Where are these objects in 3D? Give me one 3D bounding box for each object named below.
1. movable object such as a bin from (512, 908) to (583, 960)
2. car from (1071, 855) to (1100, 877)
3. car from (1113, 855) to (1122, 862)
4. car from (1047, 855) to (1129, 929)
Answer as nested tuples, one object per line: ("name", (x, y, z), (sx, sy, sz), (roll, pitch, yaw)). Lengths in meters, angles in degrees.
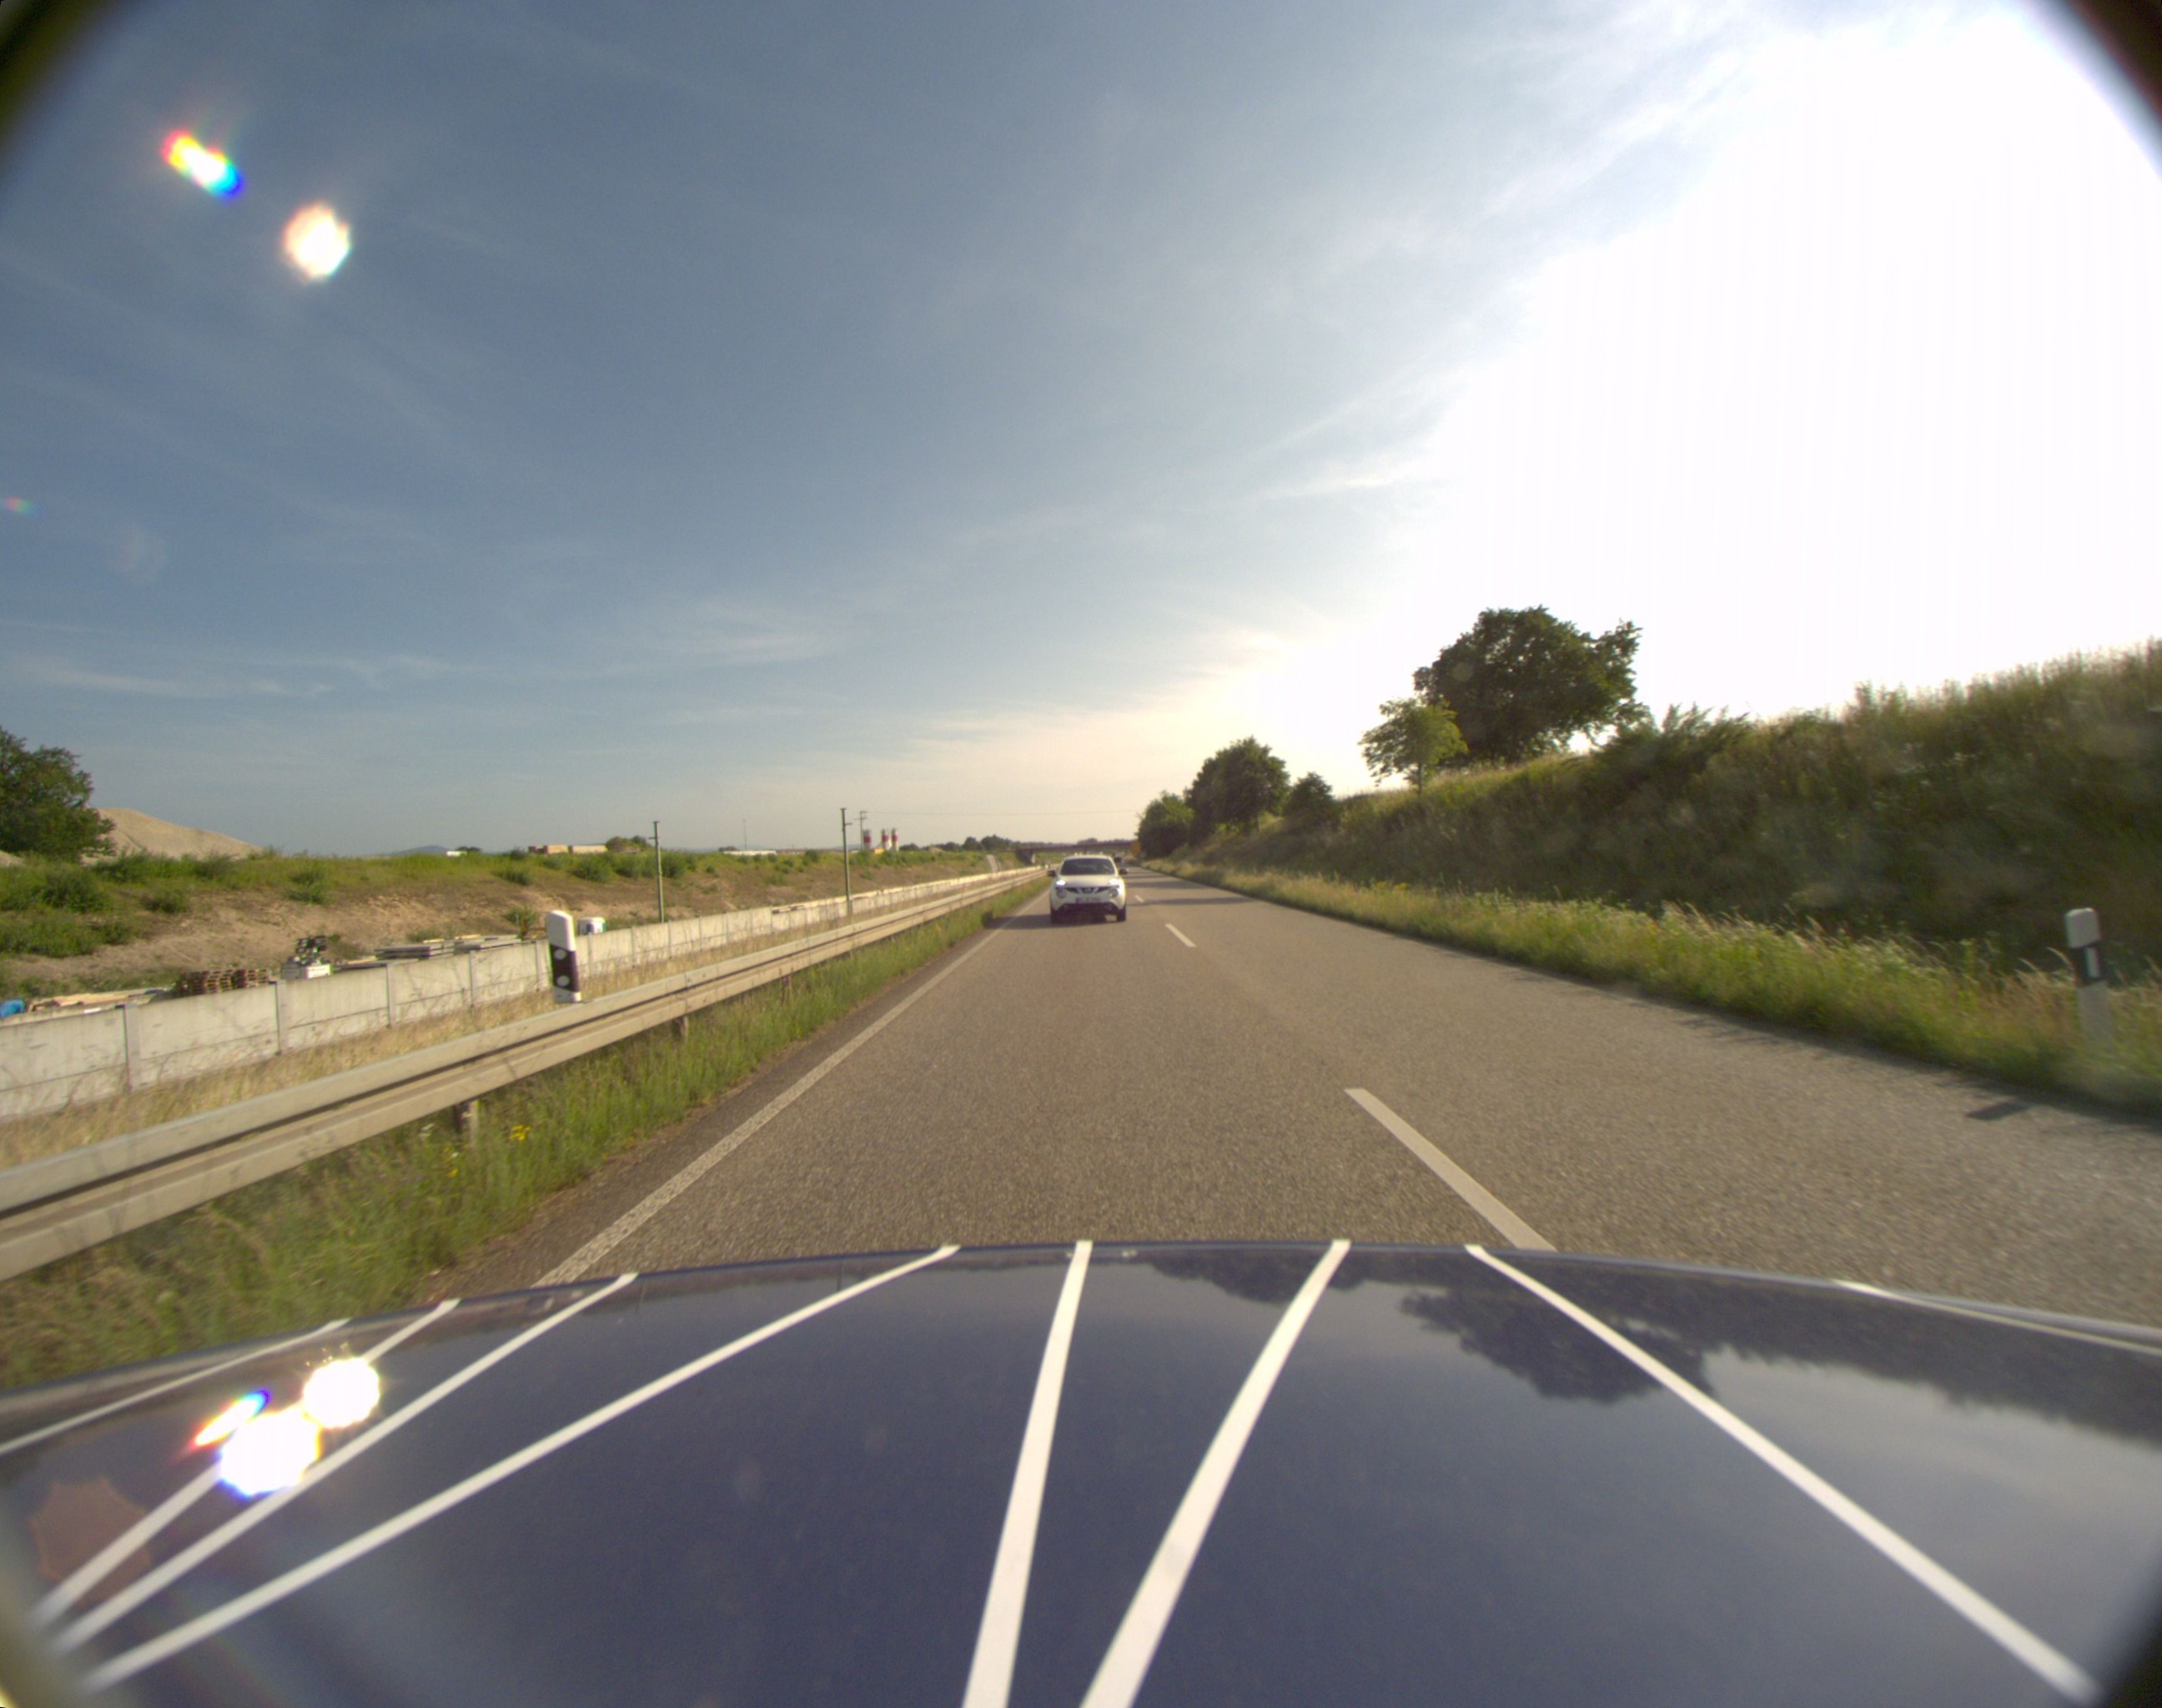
("movable object such as a bin", (-30.058, 4.465, 42.800), (2.906, 2.646, 2.023), (-2, 0, 27))
("car", (0.381, 0.875, 56.612), (1.907, 1.512, 4.466), (-2, 0, 2))
("car", (8.225, 0.934, 171.172), (1.748, 1.537, 4.311), (-1, 0, -1))
("car", (0.178, 0.844, 19.233), (1.789, 1.593, 4.572), (-1, 0, 1))
